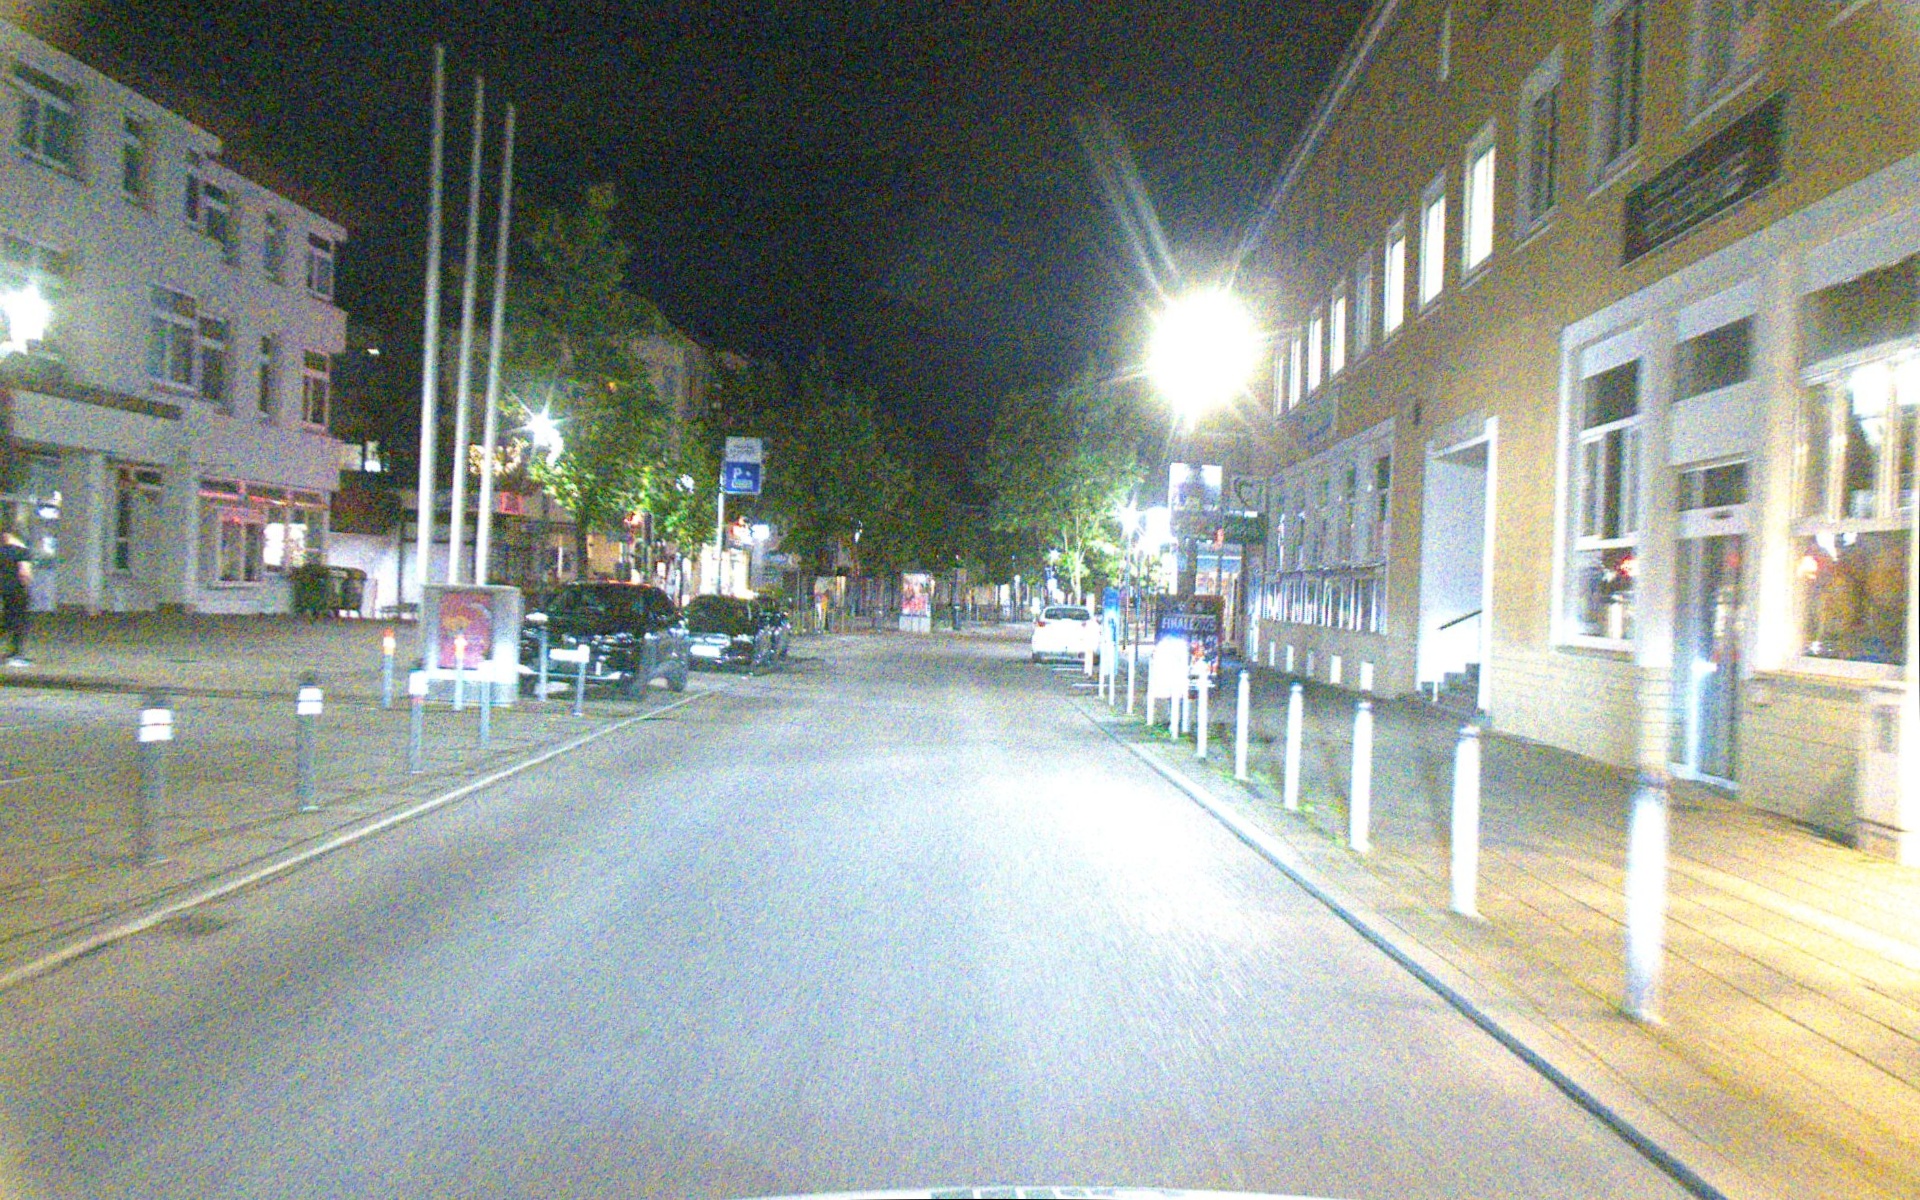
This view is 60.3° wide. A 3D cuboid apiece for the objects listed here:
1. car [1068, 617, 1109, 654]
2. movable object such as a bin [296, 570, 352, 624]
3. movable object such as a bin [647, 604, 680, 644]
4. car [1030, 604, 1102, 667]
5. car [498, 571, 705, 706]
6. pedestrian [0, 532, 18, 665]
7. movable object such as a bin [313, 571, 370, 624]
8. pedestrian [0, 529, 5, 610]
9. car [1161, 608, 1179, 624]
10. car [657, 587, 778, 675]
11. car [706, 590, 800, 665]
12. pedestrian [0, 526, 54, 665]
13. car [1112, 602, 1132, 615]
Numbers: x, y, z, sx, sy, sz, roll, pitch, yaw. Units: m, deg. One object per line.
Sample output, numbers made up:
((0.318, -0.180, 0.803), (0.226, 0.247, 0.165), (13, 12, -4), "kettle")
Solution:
((5.655, 1.518, 72.390), (1.698, 1.466, 4.499), (2, 0, 5), "car")
((-18.133, -0.075, 47.192), (1.015, 1.469, 1.286), (3, -1, 1), "movable object such as a bin")
((-8.235, 0.660, 45.911), (0.731, 1.083, 0.792), (2, -1, 0), "movable object such as a bin")
((2.704, 0.925, 42.928), (1.706, 1.514, 4.637), (2, -1, 2), "car")
((-4.877, 0.513, 23.153), (1.734, 1.601, 4.483), (3, -1, 1), "car")
((-13.803, -0.048, 22.837), (0.775, 1.849, 1.023), (3, -1, 20), "pedestrian")
((-18.118, -0.059, 48.497), (1.107, 1.483, 1.228), (3, -1, 1), "movable object such as a bin")
((-13.409, -0.048, 21.996), (0.861, 1.863, 0.790), (3, -1, 26), "pedestrian")
((19.643, 1.491, 154.617), (1.639, 1.485, 3.678), (2, 0, 8), "car")
((-4.844, 0.599, 33.599), (1.867, 1.568, 4.779), (3, 0, -2), "car")
((-5.006, 0.638, 40.496), (1.723, 1.666, 4.814), (2, 0, -1), "car")
((-12.681, -0.052, 22.358), (0.491, 1.854, 0.503), (1, -2, 25), "pedestrian")
((19.973, 1.036, 203.457), (1.873, 1.394, 4.461), (1, 1, 12), "car")
